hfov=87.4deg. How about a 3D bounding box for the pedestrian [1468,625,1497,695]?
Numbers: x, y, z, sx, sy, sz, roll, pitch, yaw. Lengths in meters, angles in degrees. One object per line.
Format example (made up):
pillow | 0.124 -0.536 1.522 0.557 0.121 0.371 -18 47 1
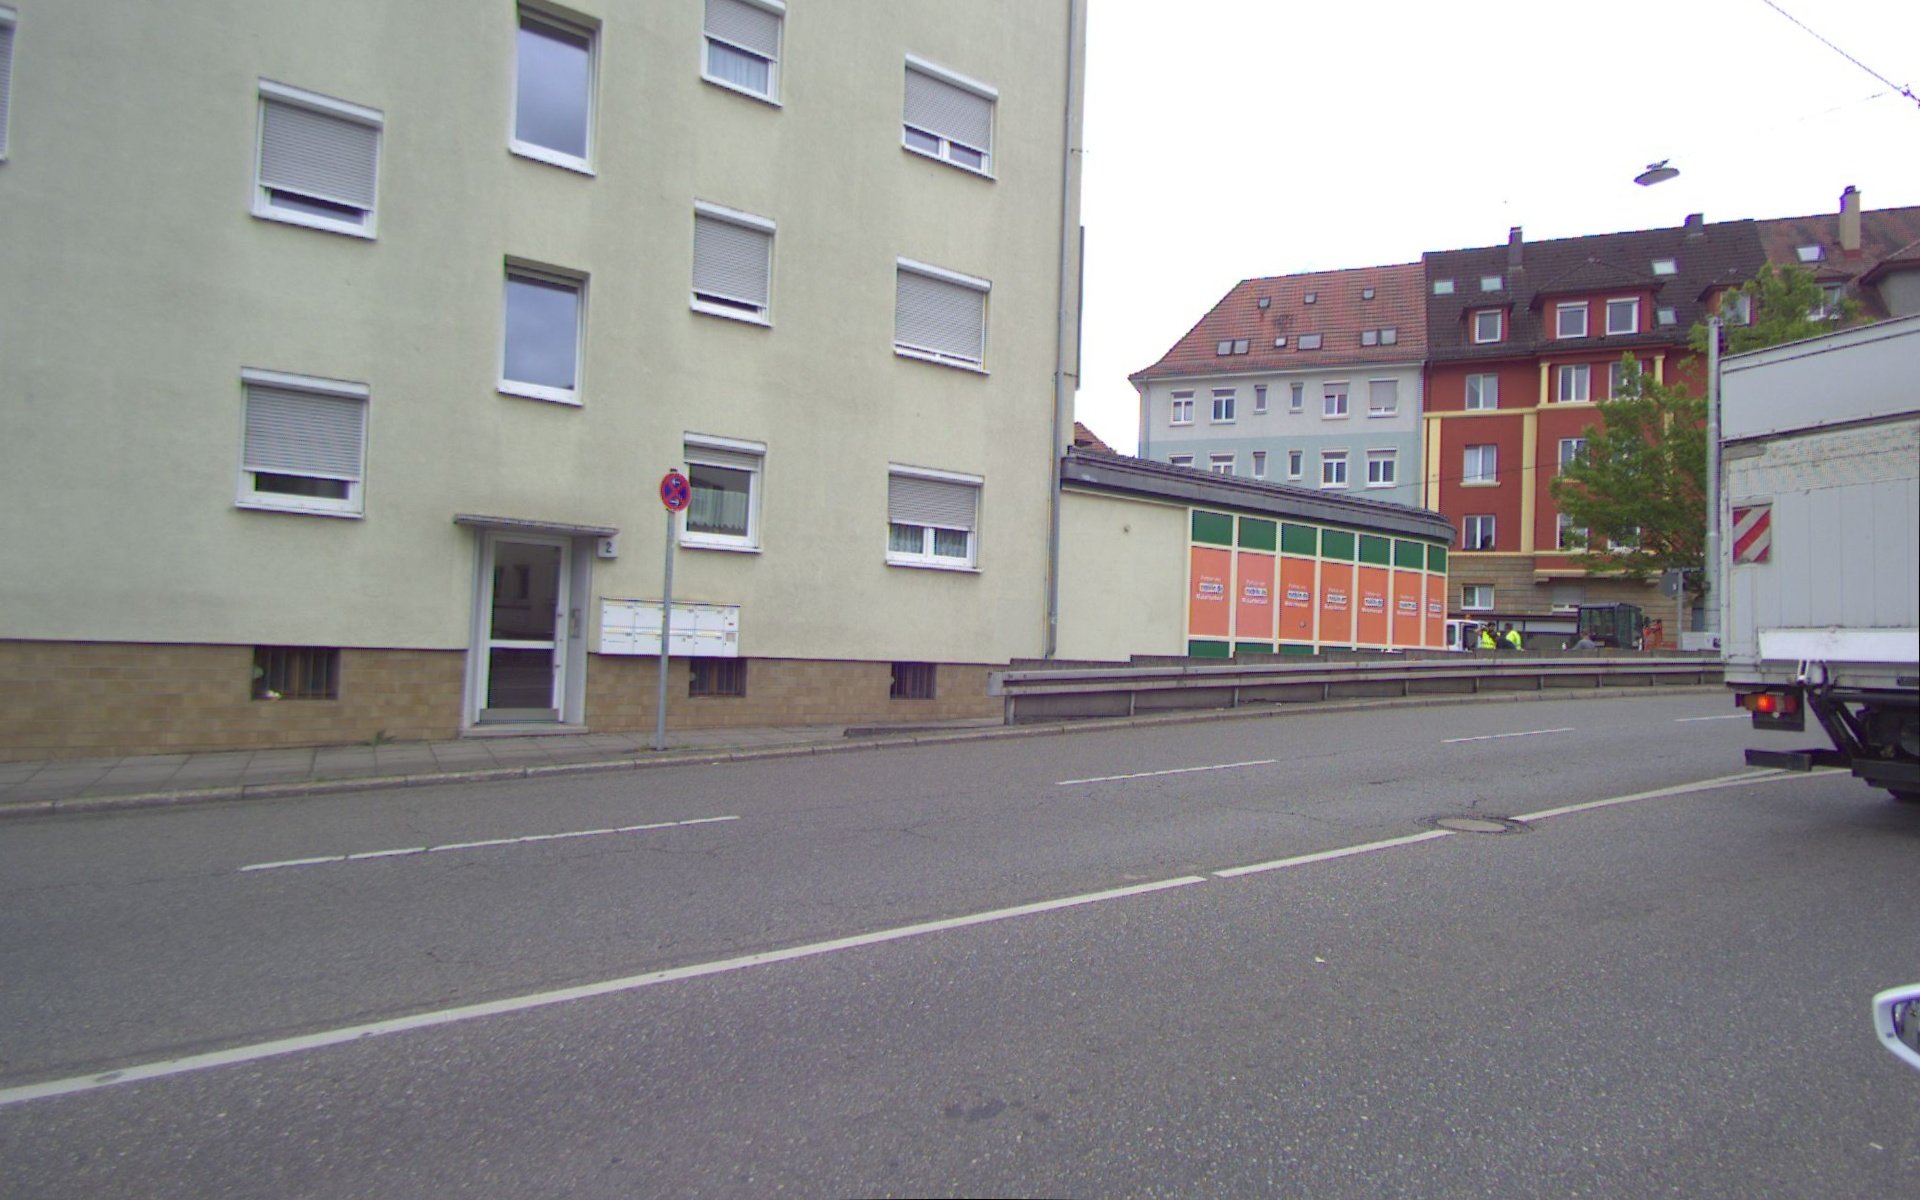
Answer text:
pedestrian | 13.463 1.535 25.892 0.467 1.753 0.543 2 1 14

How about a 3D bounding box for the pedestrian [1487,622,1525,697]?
pedestrian | 13.455 1.448 24.744 0.613 1.785 0.566 1 1 -40

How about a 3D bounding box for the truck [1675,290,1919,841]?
truck | 9.884 -0.179 8.342 7.951 3.623 2.762 1 0 -24

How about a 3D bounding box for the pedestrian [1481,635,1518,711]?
pedestrian | 12.663 1.706 23.591 0.539 1.722 0.557 1 1 -41

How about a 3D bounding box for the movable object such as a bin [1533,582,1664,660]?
movable object such as a bin | 16.416 0.520 25.750 3.972 1.795 1.884 2 1 -43

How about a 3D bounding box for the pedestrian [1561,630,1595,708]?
pedestrian | 14.362 1.586 23.352 0.533 1.753 0.593 3 1 26
